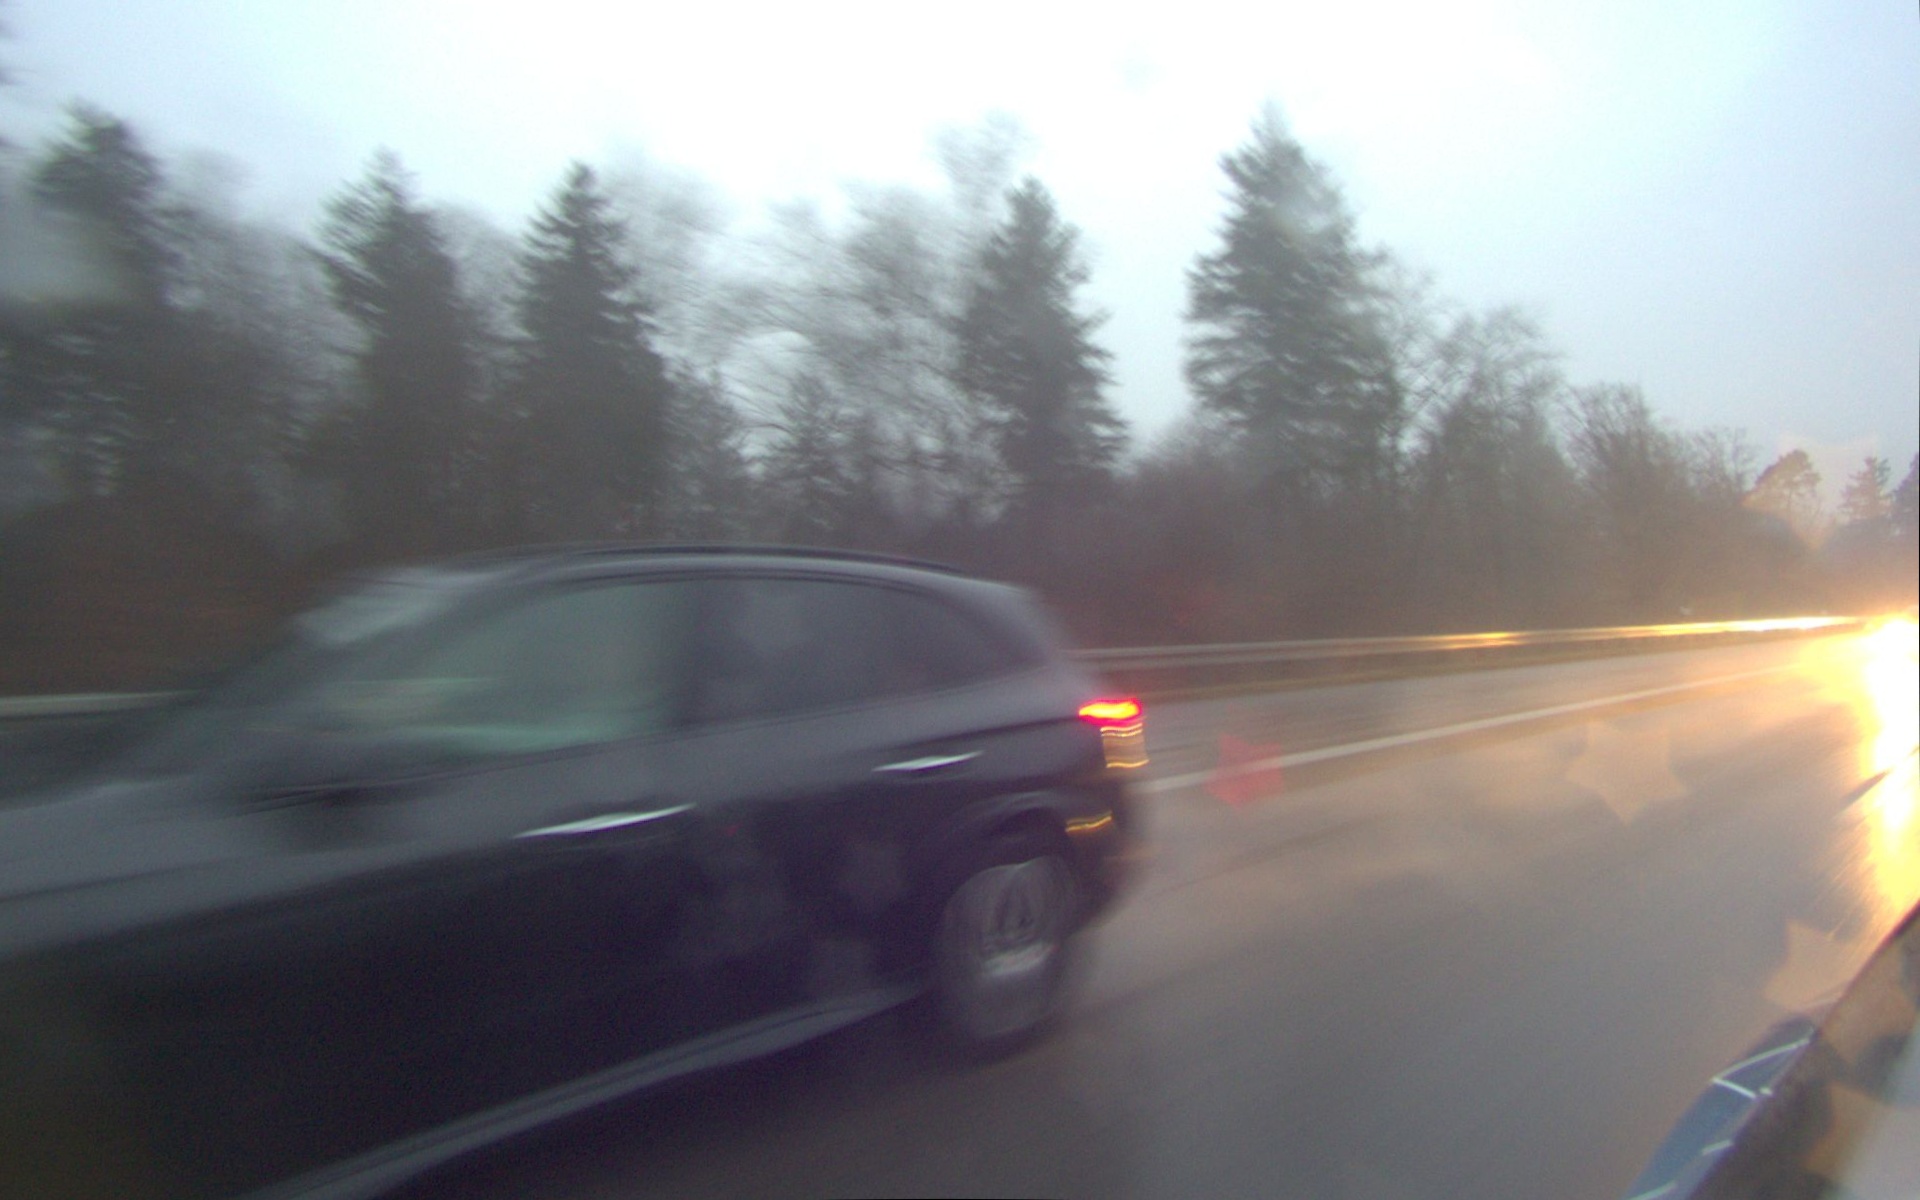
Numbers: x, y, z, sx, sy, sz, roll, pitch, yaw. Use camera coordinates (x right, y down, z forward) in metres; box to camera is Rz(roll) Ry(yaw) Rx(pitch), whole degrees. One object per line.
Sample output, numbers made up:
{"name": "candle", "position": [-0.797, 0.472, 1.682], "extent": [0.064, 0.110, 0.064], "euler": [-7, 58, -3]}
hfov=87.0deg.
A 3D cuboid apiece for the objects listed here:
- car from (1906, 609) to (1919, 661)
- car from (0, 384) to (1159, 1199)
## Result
{"name": "car", "position": [27.780, 0.960, 28.291], "extent": [3.247, 1.383, 1.602], "euler": [0, 0, -40]}
{"name": "car", "position": [-1.377, 0.541, 3.060], "extent": [3.872, 1.814, 1.927], "euler": [-1, 1, -41]}
